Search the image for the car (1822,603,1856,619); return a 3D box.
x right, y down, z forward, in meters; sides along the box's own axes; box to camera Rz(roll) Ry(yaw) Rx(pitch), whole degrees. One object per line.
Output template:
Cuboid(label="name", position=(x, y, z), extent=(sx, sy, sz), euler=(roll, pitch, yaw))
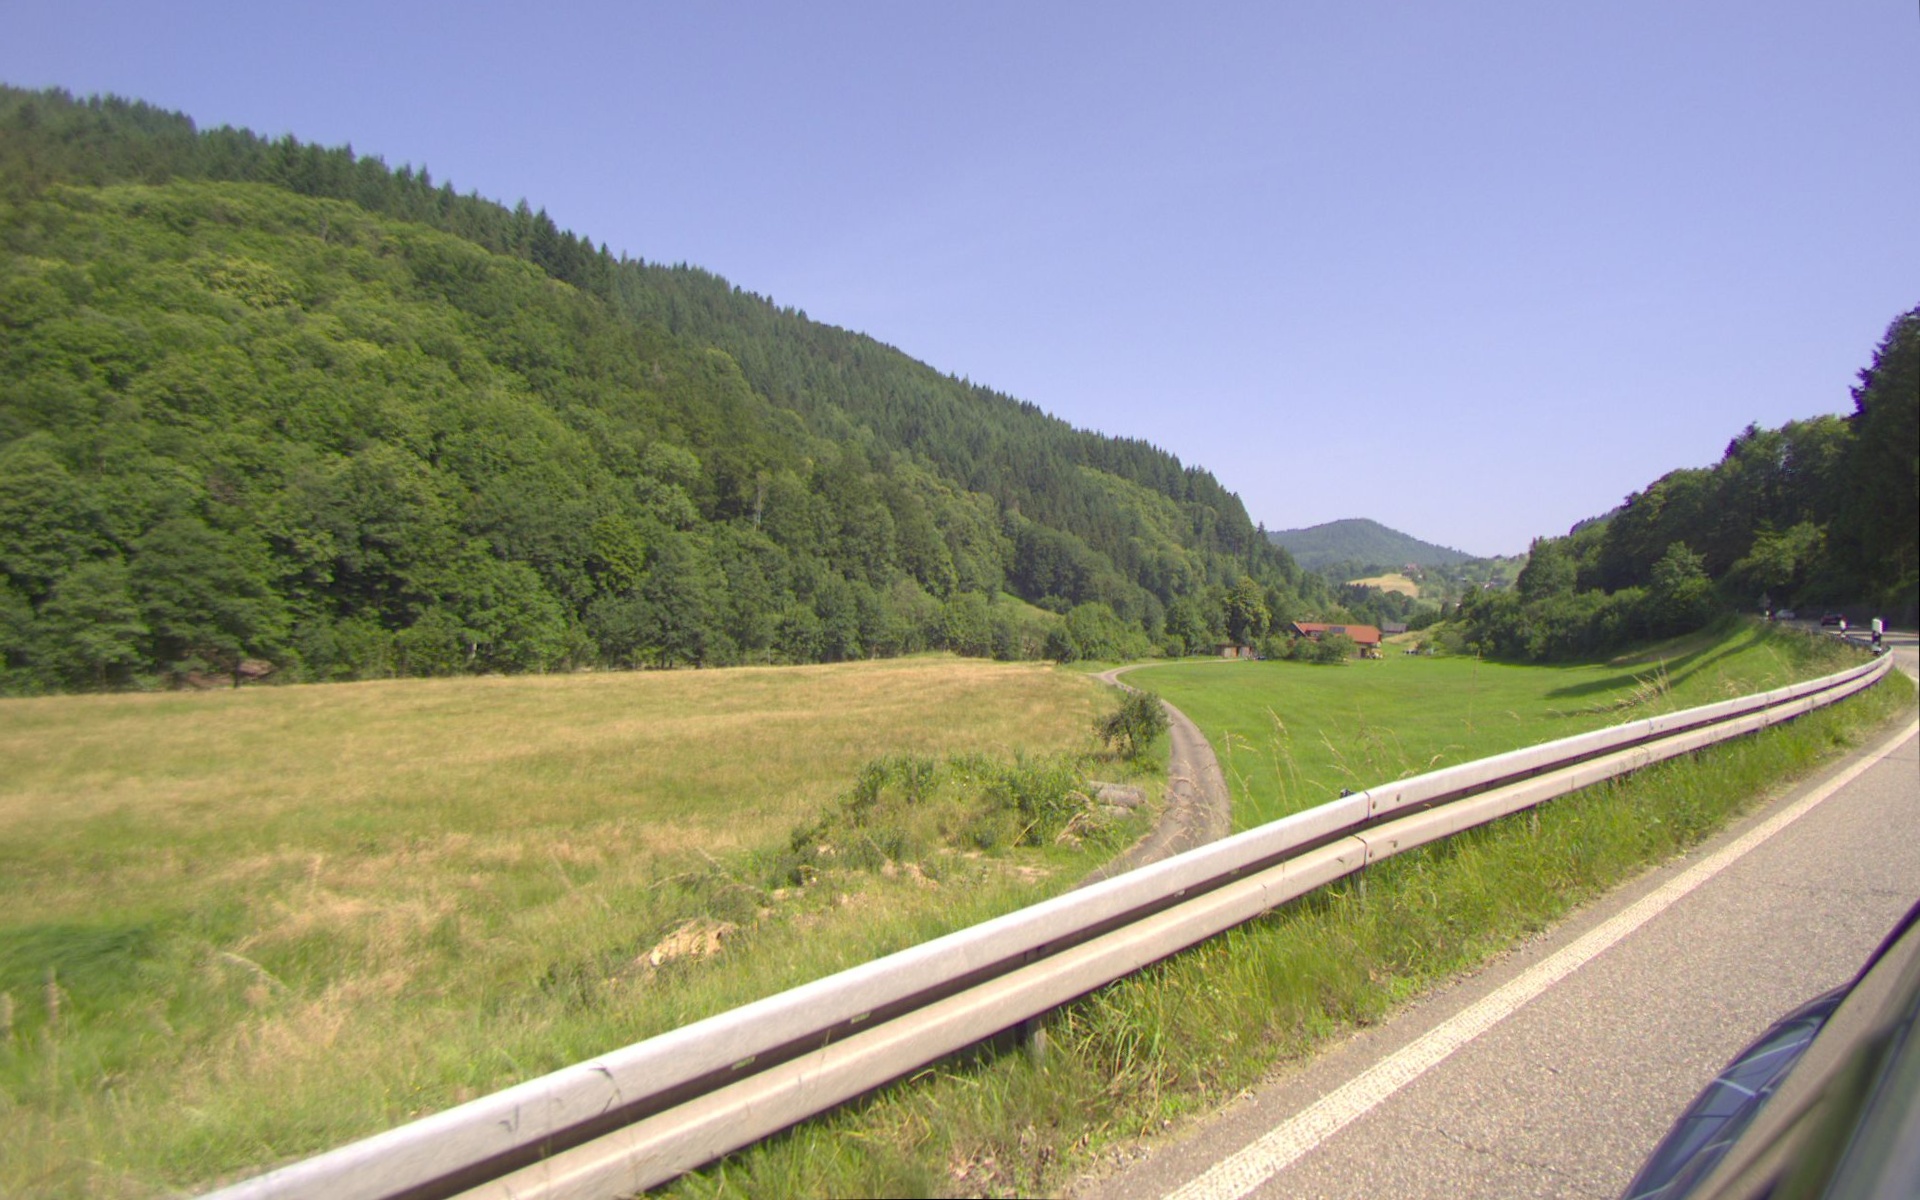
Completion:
Cuboid(label="car", position=(84.687, 1.020, 97.567), extent=(1.756, 1.414, 4.098), euler=(-1, 0, 32))
